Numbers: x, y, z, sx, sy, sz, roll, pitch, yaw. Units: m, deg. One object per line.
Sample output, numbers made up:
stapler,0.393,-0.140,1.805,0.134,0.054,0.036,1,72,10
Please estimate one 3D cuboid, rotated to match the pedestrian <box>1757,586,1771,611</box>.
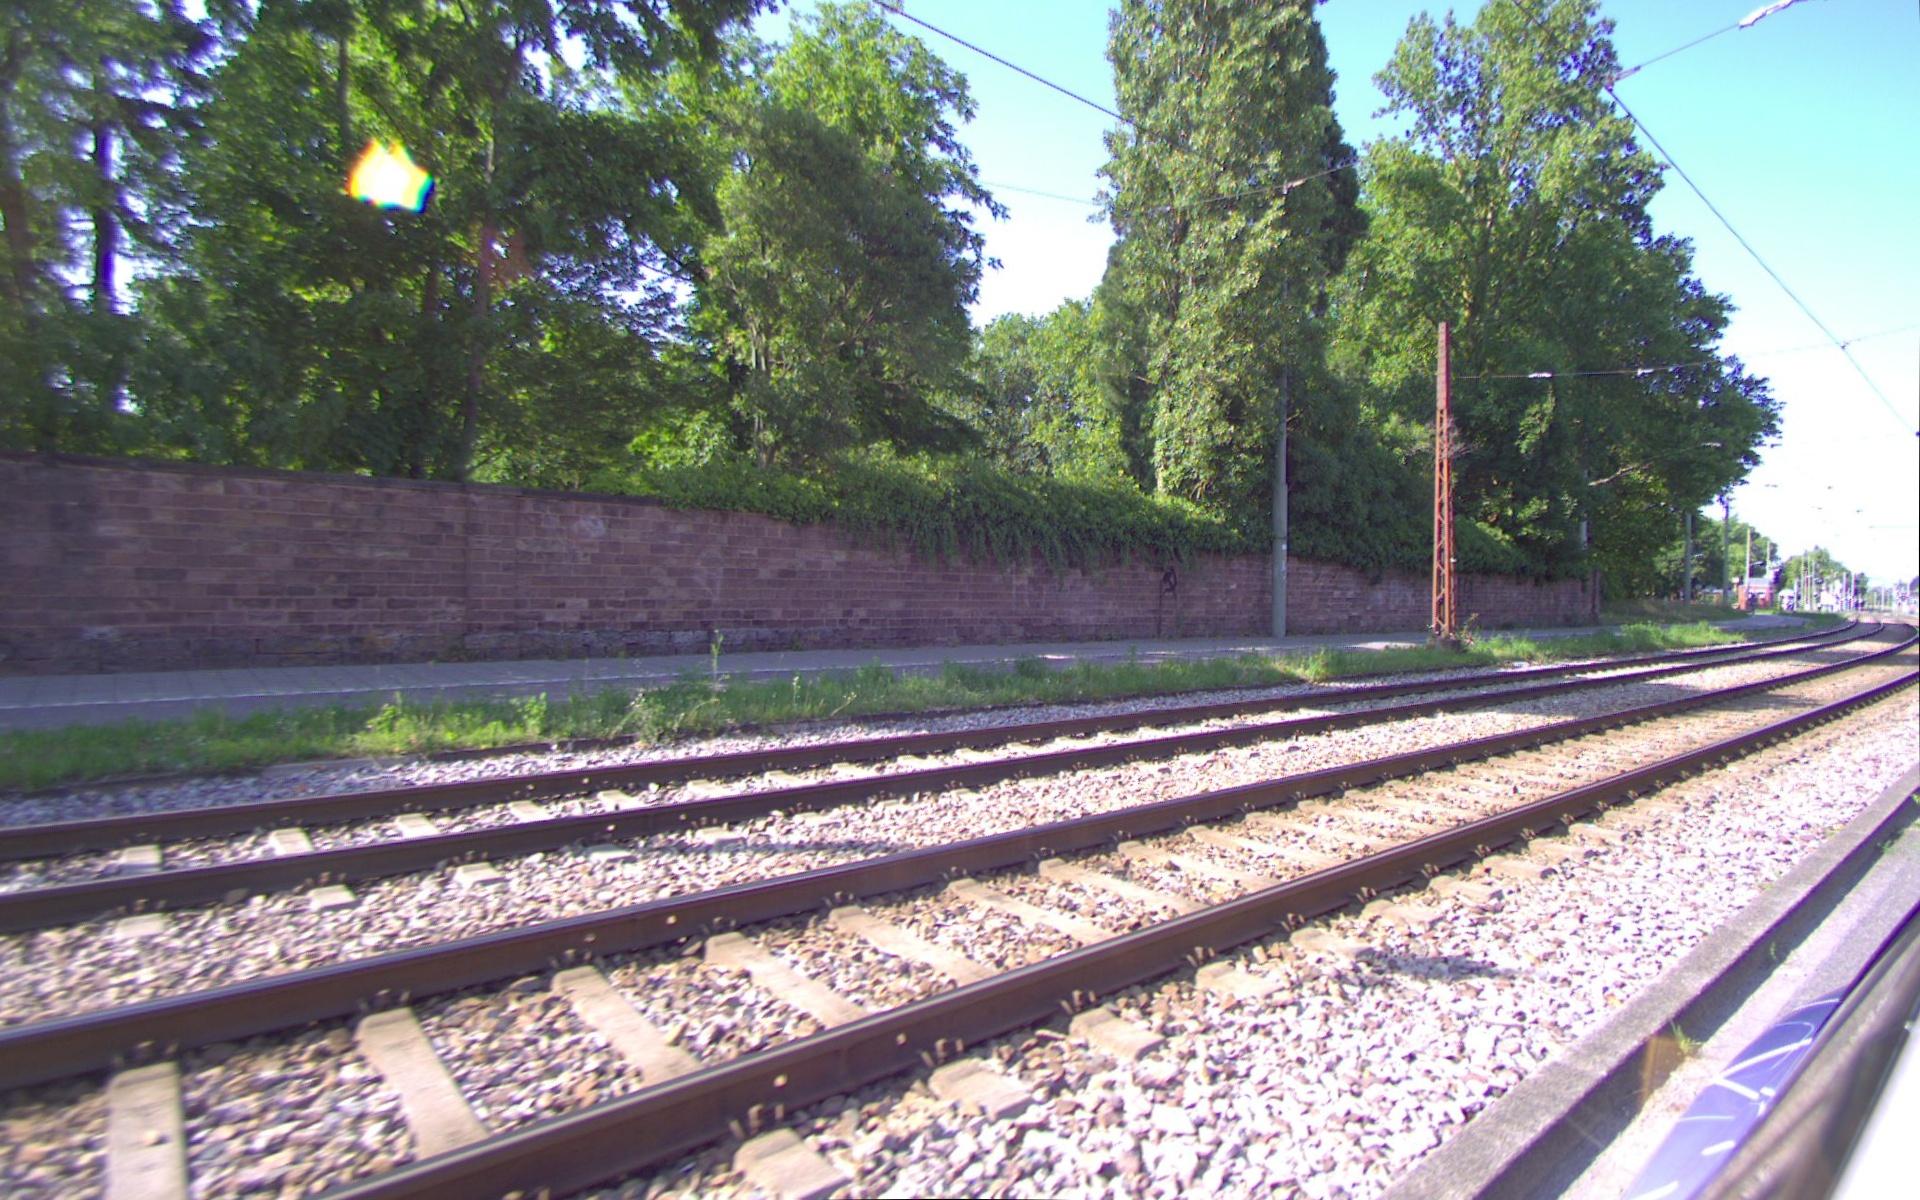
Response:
pedestrian,54.826,-0.099,69.010,0.869,1.737,0.501,1,1,-39
